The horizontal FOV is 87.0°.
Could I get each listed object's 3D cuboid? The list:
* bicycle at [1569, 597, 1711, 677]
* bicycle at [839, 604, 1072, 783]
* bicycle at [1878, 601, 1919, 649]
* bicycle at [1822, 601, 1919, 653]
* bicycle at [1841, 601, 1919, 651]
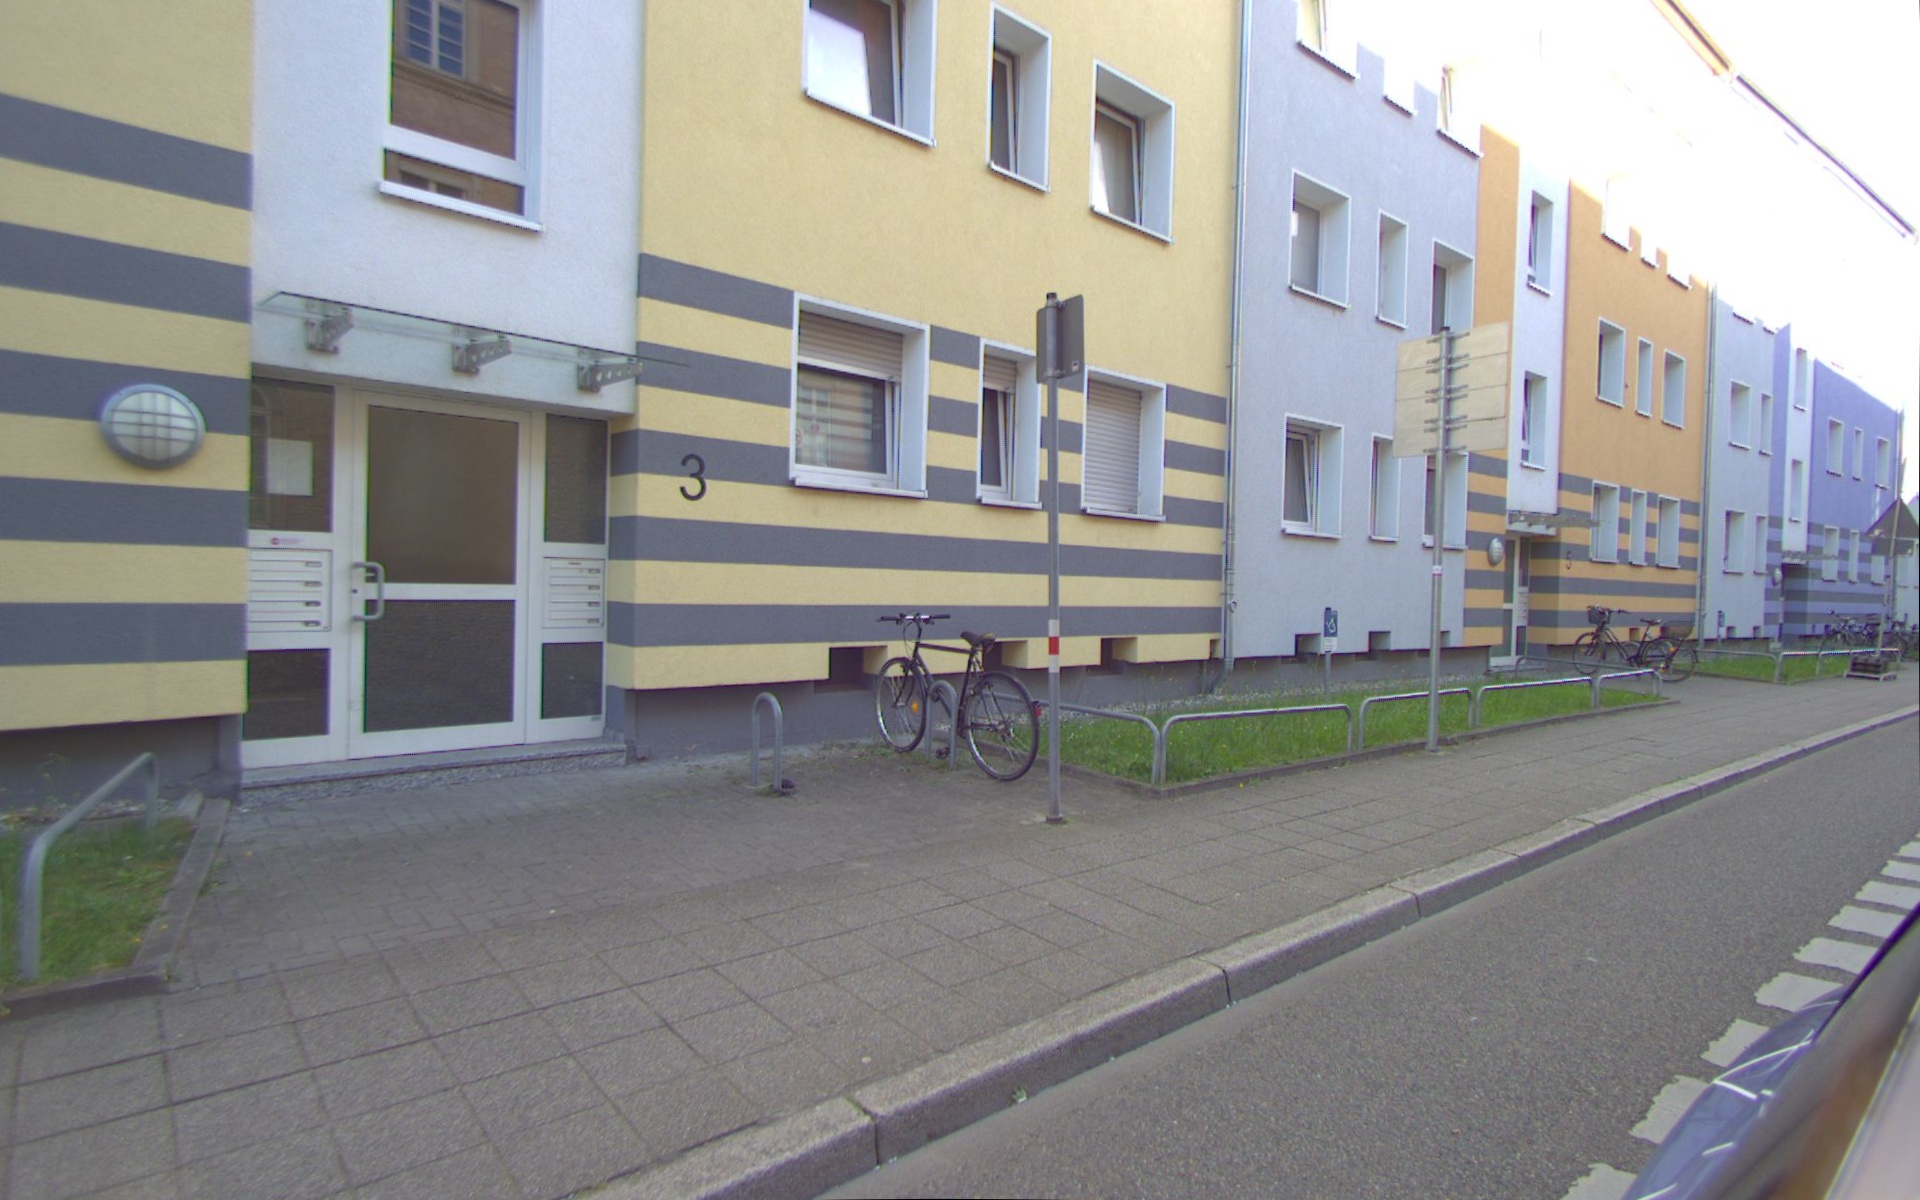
[{"bbox_3d":[10.678,0.552,15.943,1.775,1.137,0.476,3,1,44],"label":"bicycle"},{"bbox_3d":[-0.084,0.578,7.014,1.775,1.031,0.476,3,1,44],"label":"bicycle"},{"bbox_3d":[24.125,0.645,25.275,0.475,1.166,1.678,1,1,-37],"label":"bicycle"},{"bbox_3d":[22.216,0.650,24.726,0.475,1.166,1.678,1,1,-37],"label":"bicycle"},{"bbox_3d":[23.297,0.633,25.419,0.475,1.166,1.678,1,1,-37],"label":"bicycle"}]
